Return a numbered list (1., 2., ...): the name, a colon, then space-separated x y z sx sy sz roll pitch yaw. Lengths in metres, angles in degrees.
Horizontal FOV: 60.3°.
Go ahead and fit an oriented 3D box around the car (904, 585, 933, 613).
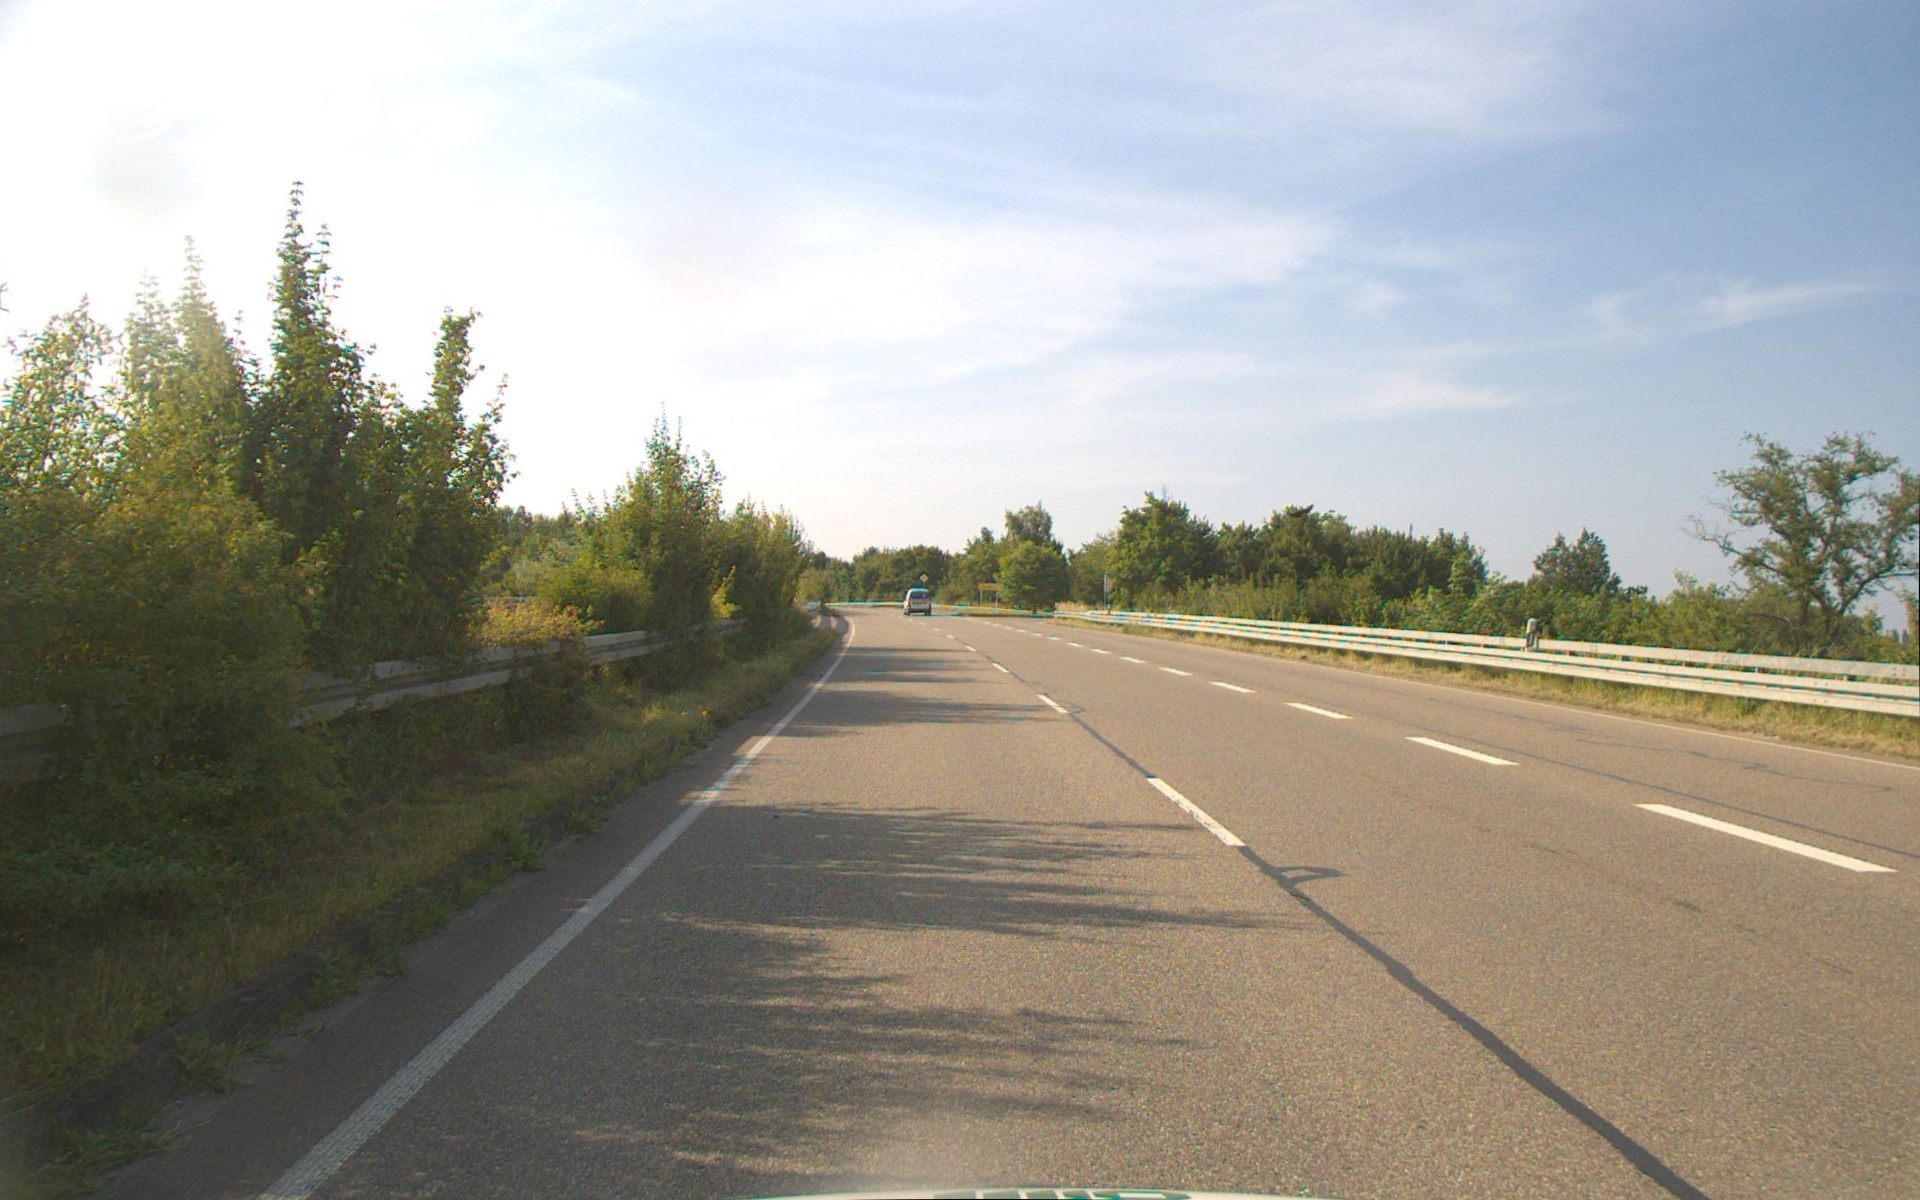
1. car: -2.941 -0.035 115.645 1.731 1.915 3.995 1 -1 -5
